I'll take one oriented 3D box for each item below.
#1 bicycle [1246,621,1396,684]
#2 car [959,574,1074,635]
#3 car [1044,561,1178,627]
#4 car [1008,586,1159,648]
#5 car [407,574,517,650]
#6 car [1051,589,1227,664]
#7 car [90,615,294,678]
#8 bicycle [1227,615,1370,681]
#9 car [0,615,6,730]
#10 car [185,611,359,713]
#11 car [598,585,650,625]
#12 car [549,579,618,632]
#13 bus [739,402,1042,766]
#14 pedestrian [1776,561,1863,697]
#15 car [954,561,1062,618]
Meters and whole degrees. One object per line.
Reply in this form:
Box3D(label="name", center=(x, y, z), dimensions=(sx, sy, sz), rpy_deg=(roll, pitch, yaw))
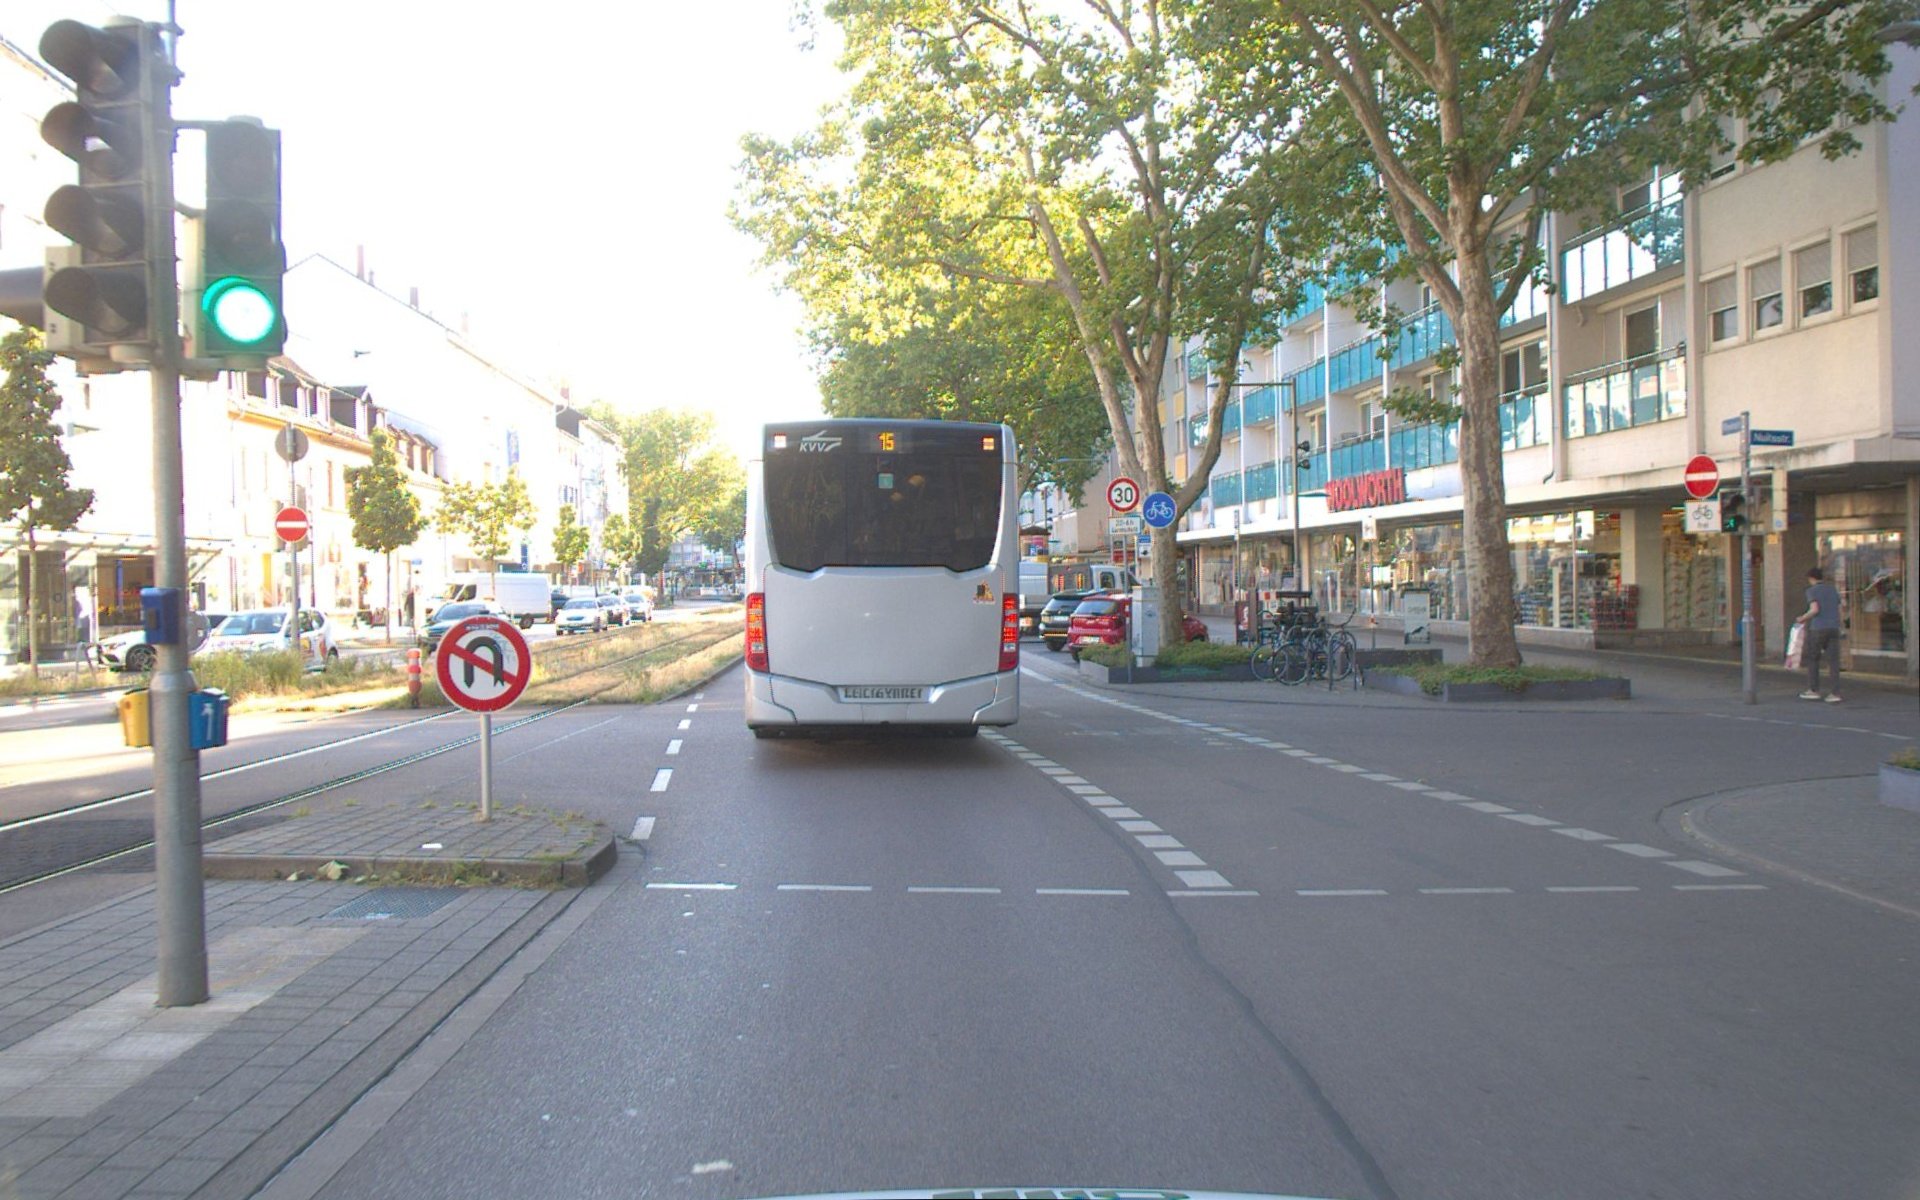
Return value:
Box3D(label="bicycle", center=(5.951, 0.857, 27.310), dimensions=(2.266, 0.956, 0.836), rpy_deg=(-1, 1, -7))
Box3D(label="car", center=(1.970, 0.133, 56.895), dimensions=(1.962, 2.004, 3.980), rpy_deg=(-1, 0, 39))
Box3D(label="car", center=(4.761, -0.193, 51.941), dimensions=(3.962, 2.004, 1.971), rpy_deg=(-1, 0, -40))
Box3D(label="car", center=(3.322, 0.436, 44.030), dimensions=(1.965, 1.557, 3.974), rpy_deg=(-1, 0, 43))
Box3D(label="car", center=(-14.032, 0.327, 46.822), dimensions=(1.953, 2.049, 3.999), rpy_deg=(-1, 0, -2))
Box3D(label="car", center=(4.059, 0.556, 37.117), dimensions=(1.965, 1.557, 3.974), rpy_deg=(-1, 0, 43))
Box3D(label="car", center=(-19.750, 1.164, 42.579), dimensions=(4.500, 1.437, 1.975), rpy_deg=(-1, 0, -36))
Box3D(label="bicycle", center=(5.805, 0.808, 28.440), dimensions=(2.266, 1.046, 0.836), rpy_deg=(-1, 1, -7))
Box3D(label="car", center=(-13.801, 0.969, 19.926), dimensions=(1.743, 1.643, 4.510), rpy_deg=(-3, 0, 3))
Box3D(label="car", center=(-13.588, 1.172, 32.918), dimensions=(1.859, 1.836, 3.999), rpy_deg=(-1, 0, -2))
Box3D(label="car", center=(-17.520, 0.256, 86.455), dimensions=(1.953, 2.049, 3.999), rpy_deg=(-1, 0, -2))
Box3D(label="car", center=(-15.359, 0.226, 67.674), dimensions=(1.953, 2.049, 3.999), rpy_deg=(-1, 0, -2))
Box3D(label="bus", center=(-0.861, -0.155, 17.898), dimensions=(2.625, 3.137, 7.107), rpy_deg=(0, 0, -4))
Box3D(label="pedestrian", center=(11.932, 0.396, 22.975), dimensions=(0.764, 1.825, 0.764), rpy_deg=(-2, 0, 1))
Box3D(label="car", center=(1.813, -0.396, 61.033), dimensions=(1.962, 2.004, 3.980), rpy_deg=(-1, 0, 39))
